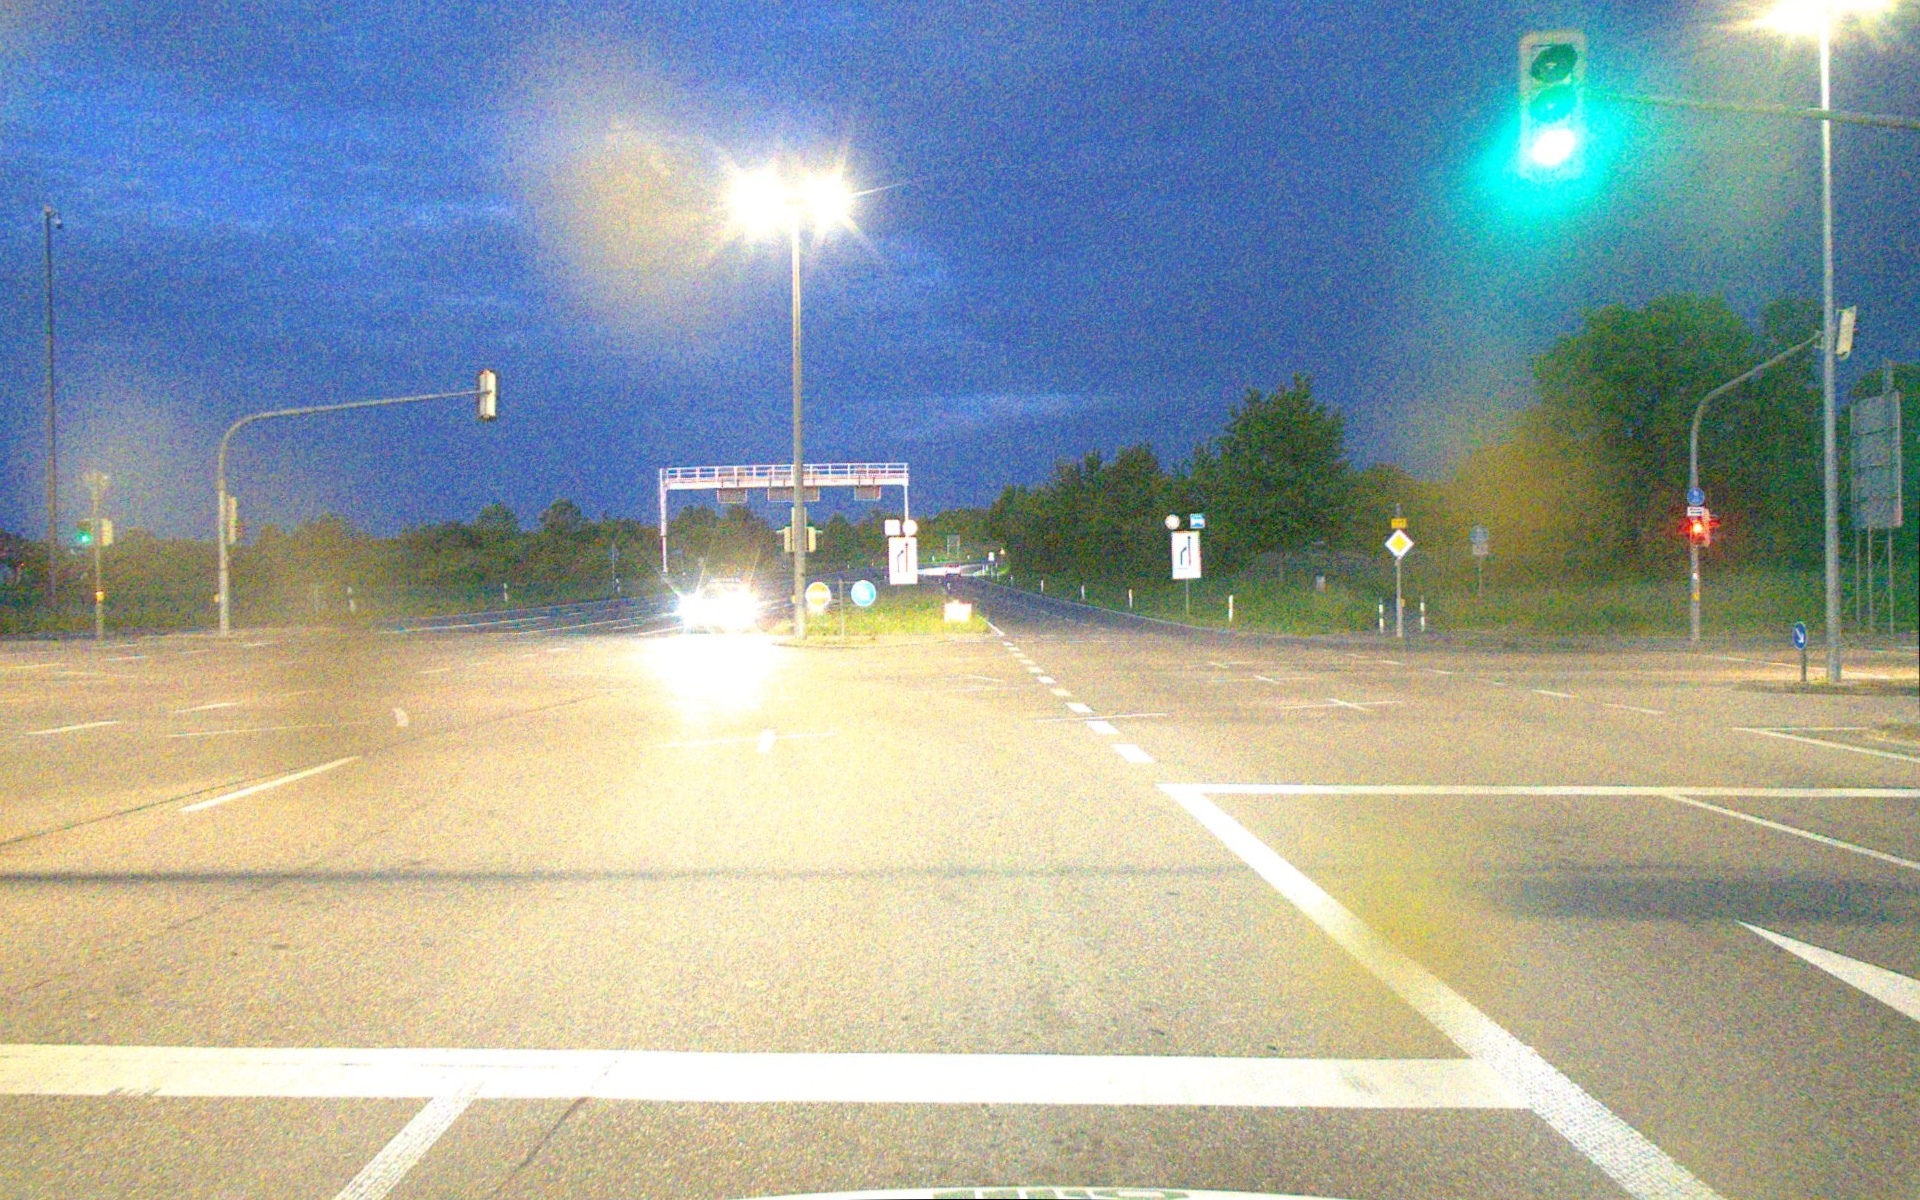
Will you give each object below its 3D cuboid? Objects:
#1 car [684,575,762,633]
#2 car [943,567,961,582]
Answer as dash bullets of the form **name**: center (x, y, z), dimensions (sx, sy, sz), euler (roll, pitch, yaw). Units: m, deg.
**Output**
- **car**: center (-7.257, 0.090, 50.932), dimensions (1.953, 1.728, 3.999), euler (0, 1, -2)
- **car**: center (-0.910, -2.930, 190.829), dimensions (1.966, 1.639, 3.846), euler (0, -1, 1)
